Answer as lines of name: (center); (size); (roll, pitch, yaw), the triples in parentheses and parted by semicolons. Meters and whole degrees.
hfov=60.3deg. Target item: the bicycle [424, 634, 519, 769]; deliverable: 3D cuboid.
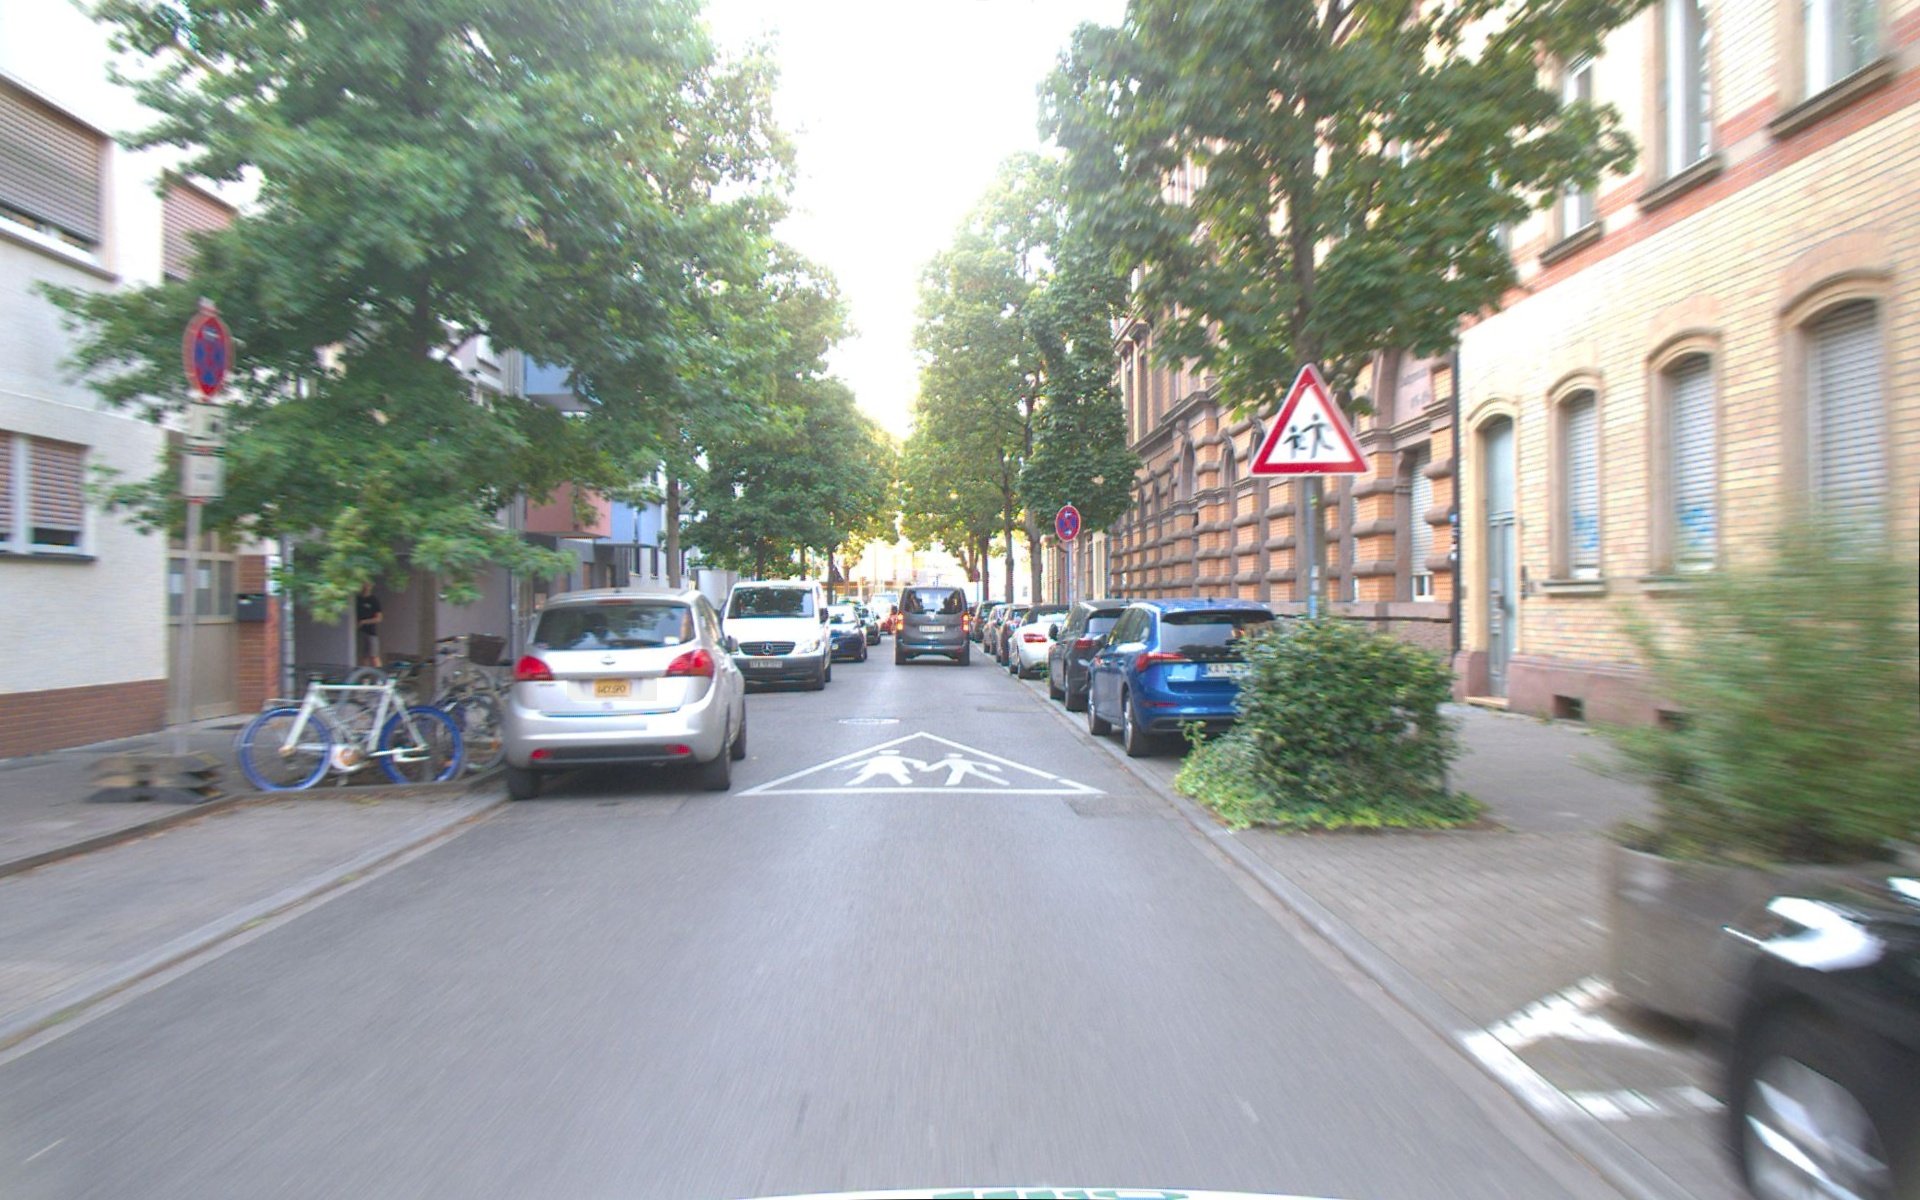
bicycle: (-4.388, 0.885, 14.927); (0.411, 1.123, 1.664); (0, 0, -2)

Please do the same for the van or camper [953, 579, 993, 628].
van or camper: (0.711, 0.181, 92.825); (1.954, 2.644, 5.421); (0, 0, -3)

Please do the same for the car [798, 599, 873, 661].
car: (-3.264, 0.762, 44.034); (1.793, 1.544, 4.514); (-1, 0, -2)

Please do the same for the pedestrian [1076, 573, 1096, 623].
pedestrian: (4.188, -0.063, 55.028); (0.614, 1.677, 0.531); (0, 0, -1)

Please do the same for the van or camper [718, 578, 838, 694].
van or camper: (-3.190, 0.586, 29.814); (1.839, 1.875, 4.750); (-1, 0, -3)

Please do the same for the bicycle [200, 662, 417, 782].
bicycle: (-5.391, 0.991, 13.728); (1.643, 0.914, 0.379); (0, -1, -32)

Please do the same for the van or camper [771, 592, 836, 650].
van or camper: (-5.263, 0.671, 56.252); (1.892, 1.790, 4.463); (3, 0, -3)

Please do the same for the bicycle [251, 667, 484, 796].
bicycle: (-4.626, 1.005, 12.976); (1.682, 0.923, 0.379); (0, -1, -32)

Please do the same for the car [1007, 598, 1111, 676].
car: (1.940, 0.697, 33.592); (1.659, 1.426, 4.644); (-1, 0, -2)

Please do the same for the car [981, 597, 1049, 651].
car: (1.656, 0.713, 50.830); (1.664, 1.508, 3.997); (-3, 0, -3)

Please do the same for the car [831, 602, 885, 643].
car: (-3.808, 0.806, 62.209); (1.809, 1.477, 4.501); (0, 0, -1)

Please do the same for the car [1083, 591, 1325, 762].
car: (2.331, 0.676, 16.826); (1.595, 1.492, 4.243); (-1, 0, -3)

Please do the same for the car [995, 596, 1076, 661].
car: (1.822, 0.686, 40.926); (1.687, 1.475, 4.213); (-1, 0, -1)

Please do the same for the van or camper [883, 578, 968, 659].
van or camper: (-0.821, 0.443, 41.600); (1.993, 1.931, 4.271); (0, 0, 1)

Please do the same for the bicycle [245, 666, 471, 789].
bicycle: (-4.851, 1.008, 13.372); (1.682, 0.914, 0.379); (0, -1, -32)

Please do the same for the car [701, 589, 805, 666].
car: (-4.838, 0.606, 39.279); (1.953, 1.675, 4.920); (1, 0, -1)

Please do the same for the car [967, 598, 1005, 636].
car: (1.115, 0.699, 69.121); (1.519, 1.523, 3.611); (0, 0, 1)

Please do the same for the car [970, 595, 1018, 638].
car: (1.318, 0.639, 64.829); (1.579, 1.586, 3.764); (-1, 0, -3)

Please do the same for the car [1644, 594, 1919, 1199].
car: (2.622, 0.699, 1.883); (1.731, 1.439, 4.473); (-3, 0, -1)

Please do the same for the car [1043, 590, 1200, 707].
car: (2.207, 0.625, 23.549); (1.677, 1.503, 4.191); (0, 0, -2)

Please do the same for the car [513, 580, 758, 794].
car: (-2.704, 0.655, 14.563); (1.630, 1.590, 3.996); (-1, 0, -4)

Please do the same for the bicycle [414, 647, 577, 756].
bicycle: (-4.650, 0.988, 16.512); (1.694, 1.012, 0.575); (-1, 0, 32)

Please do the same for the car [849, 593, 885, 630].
car: (-4.386, 0.522, 78.128); (1.597, 1.455, 3.542); (-1, 4, -2)
